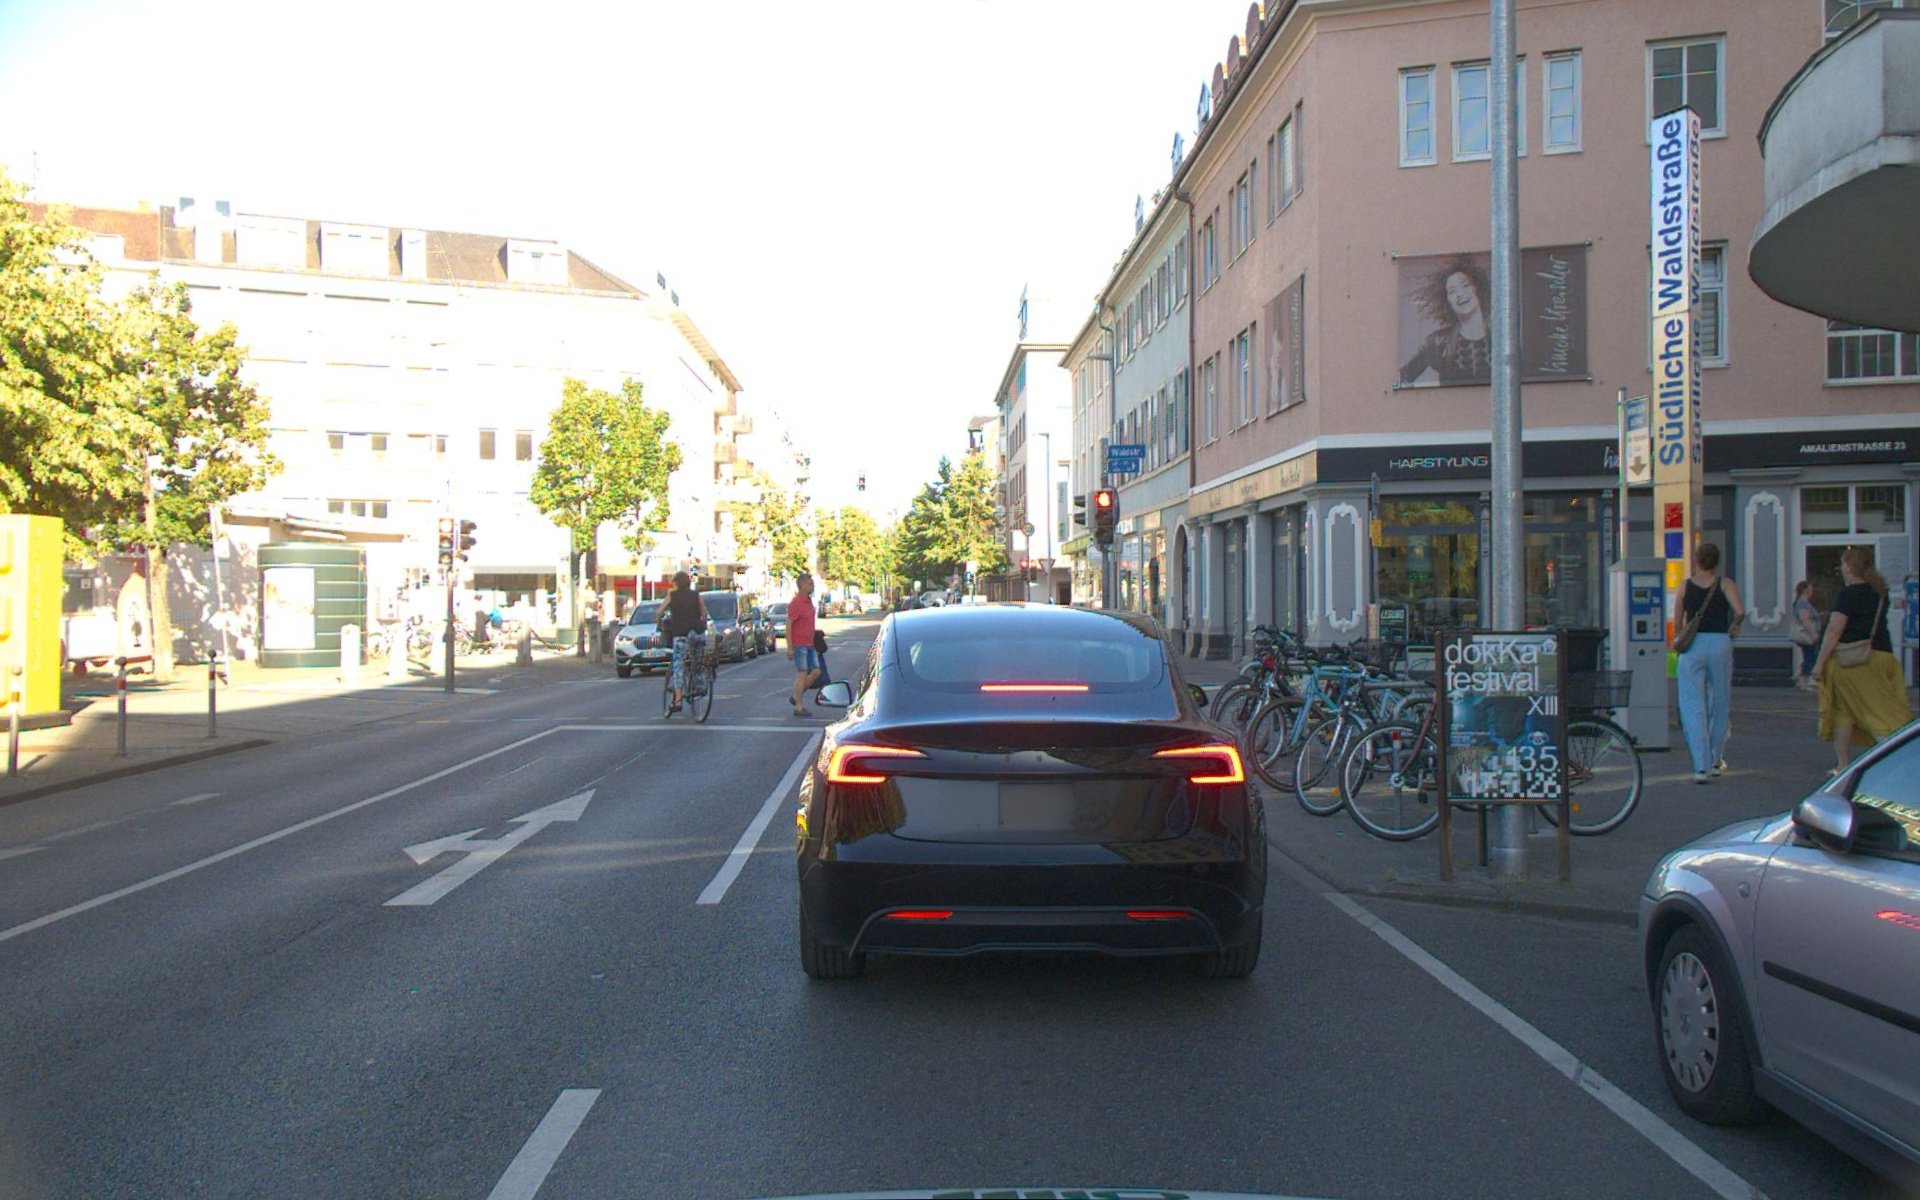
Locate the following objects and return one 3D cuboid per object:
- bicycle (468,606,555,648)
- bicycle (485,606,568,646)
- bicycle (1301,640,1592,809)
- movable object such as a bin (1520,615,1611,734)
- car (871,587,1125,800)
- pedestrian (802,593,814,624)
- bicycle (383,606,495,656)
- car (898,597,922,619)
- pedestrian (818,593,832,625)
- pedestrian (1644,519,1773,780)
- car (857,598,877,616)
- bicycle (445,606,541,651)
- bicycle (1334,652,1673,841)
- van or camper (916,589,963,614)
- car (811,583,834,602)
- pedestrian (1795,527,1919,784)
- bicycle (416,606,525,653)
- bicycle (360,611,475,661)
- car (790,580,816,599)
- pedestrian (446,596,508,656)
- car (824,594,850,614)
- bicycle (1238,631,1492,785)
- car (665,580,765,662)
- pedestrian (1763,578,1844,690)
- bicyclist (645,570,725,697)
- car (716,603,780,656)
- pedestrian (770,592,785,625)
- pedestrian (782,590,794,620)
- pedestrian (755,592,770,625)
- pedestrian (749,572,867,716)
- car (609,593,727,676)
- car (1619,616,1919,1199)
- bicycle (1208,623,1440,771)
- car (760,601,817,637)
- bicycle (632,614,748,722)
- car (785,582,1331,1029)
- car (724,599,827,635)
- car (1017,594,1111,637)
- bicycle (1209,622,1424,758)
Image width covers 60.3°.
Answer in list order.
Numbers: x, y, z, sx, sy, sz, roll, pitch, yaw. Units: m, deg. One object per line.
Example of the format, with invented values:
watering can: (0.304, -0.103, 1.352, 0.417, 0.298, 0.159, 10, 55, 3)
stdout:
bicycle: (-14.061, 0.852, 51.914, 2.491, 1.273, 0.942, 1, 0, -4)
bicycle: (-14.227, 0.859, 54.336, 2.491, 1.273, 0.942, 1, 0, -4)
bicycle: (3.251, 0.823, 11.160, 1.776, 1.078, 0.653, 0, 0, 0)
movable object such as a bin: (6.044, 0.733, 16.539, 0.623, 1.122, 0.728, -2, 0, 3)
car: (0.244, 0.687, 14.193, 1.812, 1.507, 4.450, 1, 0, -1)
pedestrian: (-9.582, 0.548, 104.424, 0.682, 1.900, 0.907, 1, -1, -10)
bicycle: (-14.123, 0.845, 44.920, 2.725, 1.296, 0.932, 1, 0, -4)
car: (-4.248, 0.647, 141.856, 1.994, 1.819, 4.005, 0, 0, -1)
pedestrian: (-8.238, 0.556, 100.785, 0.760, 1.900, 1.007, 1, -1, -9)
pedestrian: (5.671, 0.364, 12.573, 0.666, 1.882, 0.894, -4, -1, 16)
car: (-10.507, 0.832, 186.963, 2.089, 2.004, 4.133, 0, 0, -1)
bicycle: (-14.009, 0.847, 49.640, 2.609, 1.281, 0.942, 1, 0, -4)
bicycle: (3.280, 0.876, 10.088, 1.844, 1.062, 0.653, -1, 0, 0)
van or camper: (-2.073, 0.173, 167.517, 4.752, 2.481, 1.850, 0, 0, -1)
car: (-15.607, -0.814, 188.059, 2.228, 2.049, 4.717, 1, 0, 0)
pedestrian: (6.662, 0.390, 12.058, 0.706, 1.785, 0.788, -2, -1, 4)
bicycle: (-14.000, 0.832, 47.321, 2.818, 1.292, 0.942, 1, 0, -4)
bicycle: (-13.949, 0.927, 42.582, 2.607, 1.216, 0.942, 1, 0, -4)
car: (-17.023, -1.127, 179.403, 2.228, 2.049, 4.717, 1, 0, 0)
pedestrian: (-13.548, 0.710, 46.406, 1.236, 1.639, 1.097, 1, 0, 17)
car: (-12.349, 0.398, 166.259, 2.365, 2.004, 4.677, 0, 0, -1)
bicycle: (3.051, 0.806, 12.564, 1.776, 1.121, 0.653, 0, 0, 0)
car: (-6.230, 0.507, 42.562, 1.906, 1.981, 4.819, 0, 0, -1)
pedestrian: (12.185, 0.488, 23.902, 0.780, 1.576, 0.717, 1, -1, -28)
bicyclist: (-3.360, 0.399, 20.178, 0.601, 1.510, 0.946, 1, -1, -35)
car: (-6.335, 0.855, 49.689, 1.431, 1.455, 3.605, -3, 0, -1)
pedestrian: (-10.707, 0.497, 97.033, 0.721, 1.900, 0.787, 1, -1, -17)
pedestrian: (-10.768, 0.315, 103.711, 0.681, 1.900, 0.658, 1, -1, -6)
pedestrian: (-11.535, 0.482, 96.711, 0.721, 1.900, 0.787, 1, -1, -17)
pedestrian: (-1.901, 0.535, 20.762, 1.087, 1.750, 1.061, 1, -1, 22)
car: (-6.322, 0.712, 36.234, 1.788, 1.592, 4.299, -3, 0, -1)
car: (2.923, 0.782, 3.535, 1.551, 1.451, 3.579, 1, 0, -1)
bicycle: (2.980, 0.784, 13.637, 1.776, 1.172, 0.653, 0, 0, 0)
car: (-6.998, 0.780, 67.807, 1.658, 1.414, 3.918, 1, 0, 4)
bicycle: (-3.294, 0.802, 20.054, 0.622, 1.244, 1.976, 0, -2, -34)
car: (0.301, 0.701, 7.769, 1.812, 1.472, 4.450, 1, 0, -1)
car: (-8.990, 0.811, 80.502, 4.638, 1.455, 1.722, -4, 0, -25)
car: (4.712, 0.704, 74.738, 3.937, 1.900, 1.686, 0, 0, -22)
bicycle: (3.164, 0.792, 14.774, 1.776, 1.172, 0.653, 0, 0, 0)
